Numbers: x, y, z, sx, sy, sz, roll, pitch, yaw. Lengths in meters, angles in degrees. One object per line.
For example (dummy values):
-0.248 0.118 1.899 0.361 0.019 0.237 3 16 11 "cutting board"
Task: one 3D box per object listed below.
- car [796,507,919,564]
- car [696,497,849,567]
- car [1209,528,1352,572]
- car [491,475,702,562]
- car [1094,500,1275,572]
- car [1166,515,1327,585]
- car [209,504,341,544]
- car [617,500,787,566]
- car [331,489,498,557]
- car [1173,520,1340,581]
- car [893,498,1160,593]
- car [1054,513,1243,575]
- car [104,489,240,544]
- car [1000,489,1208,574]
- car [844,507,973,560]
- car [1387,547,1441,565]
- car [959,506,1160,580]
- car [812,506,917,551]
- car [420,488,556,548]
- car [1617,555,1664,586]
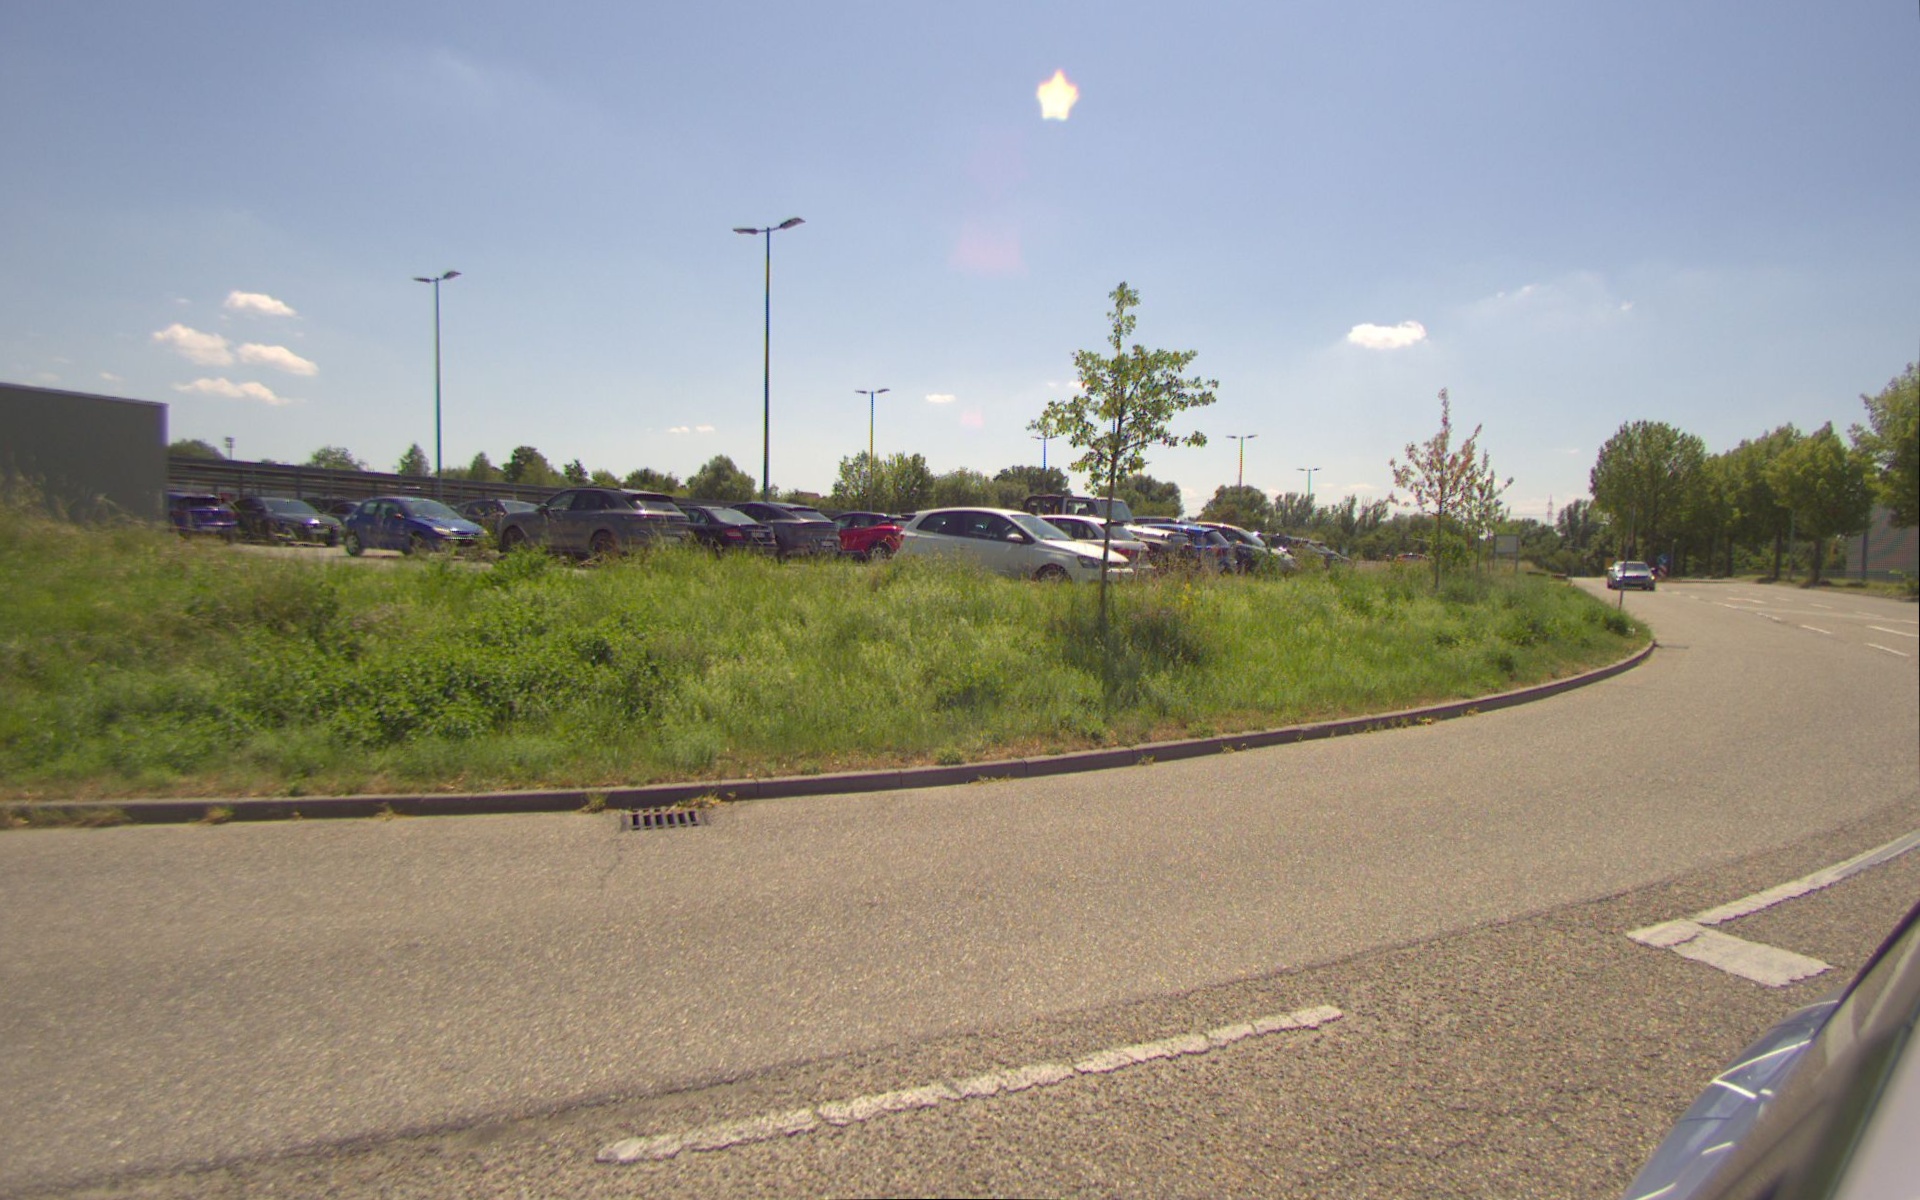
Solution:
-3.082 -1.904 30.317 3.386 1.593 1.509 1 3 27 "car"
-4.875 -1.790 26.226 3.608 1.616 1.752 4 5 29 "car"
10.032 -1.559 31.710 3.968 1.307 1.889 1 4 31 "car"
-7.920 -1.685 21.948 4.563 1.711 1.760 1 2 29 "car"
5.481 -1.529 24.765 4.001 1.447 1.672 -2 2 28 "car"
7.592 -1.351 26.888 3.814 1.643 1.602 4 4 28 "car"
-20.919 -2.349 30.910 3.705 1.097 1.559 3 6 23 "car"
-6.134 -1.608 23.971 3.815 1.378 1.637 4 5 29 "car"
-12.977 -1.833 24.077 3.599 1.463 1.641 3 4 23 "car"
8.631 -1.474 29.553 4.365 1.564 1.797 4 4 29 "car"
0.974 -0.897 15.586 3.847 1.312 1.558 3 5 31 "car"
4.204 -1.296 22.690 3.910 1.272 1.572 3 5 27 "car"
-22.336 -2.374 28.691 3.437 1.426 1.576 3 4 23 "car"
2.867 -1.417 20.427 3.725 1.545 1.854 4 6 35 "car"
-1.675 -2.135 32.781 3.841 1.618 1.725 1 3 27 "car"
36.466 -3.501 81.311 3.960 1.367 1.633 1 3 26 "car"
1.751 -1.062 17.986 3.244 1.195 1.487 3 5 30 "car"
-3.620 -2.698 38.241 3.608 1.517 1.752 4 5 29 "car"
-12.979 -2.258 27.801 3.608 1.517 1.583 4 4 29 "car"
34.098 -1.501 50.784 1.660 1.391 4.450 0 3 30 "car"
